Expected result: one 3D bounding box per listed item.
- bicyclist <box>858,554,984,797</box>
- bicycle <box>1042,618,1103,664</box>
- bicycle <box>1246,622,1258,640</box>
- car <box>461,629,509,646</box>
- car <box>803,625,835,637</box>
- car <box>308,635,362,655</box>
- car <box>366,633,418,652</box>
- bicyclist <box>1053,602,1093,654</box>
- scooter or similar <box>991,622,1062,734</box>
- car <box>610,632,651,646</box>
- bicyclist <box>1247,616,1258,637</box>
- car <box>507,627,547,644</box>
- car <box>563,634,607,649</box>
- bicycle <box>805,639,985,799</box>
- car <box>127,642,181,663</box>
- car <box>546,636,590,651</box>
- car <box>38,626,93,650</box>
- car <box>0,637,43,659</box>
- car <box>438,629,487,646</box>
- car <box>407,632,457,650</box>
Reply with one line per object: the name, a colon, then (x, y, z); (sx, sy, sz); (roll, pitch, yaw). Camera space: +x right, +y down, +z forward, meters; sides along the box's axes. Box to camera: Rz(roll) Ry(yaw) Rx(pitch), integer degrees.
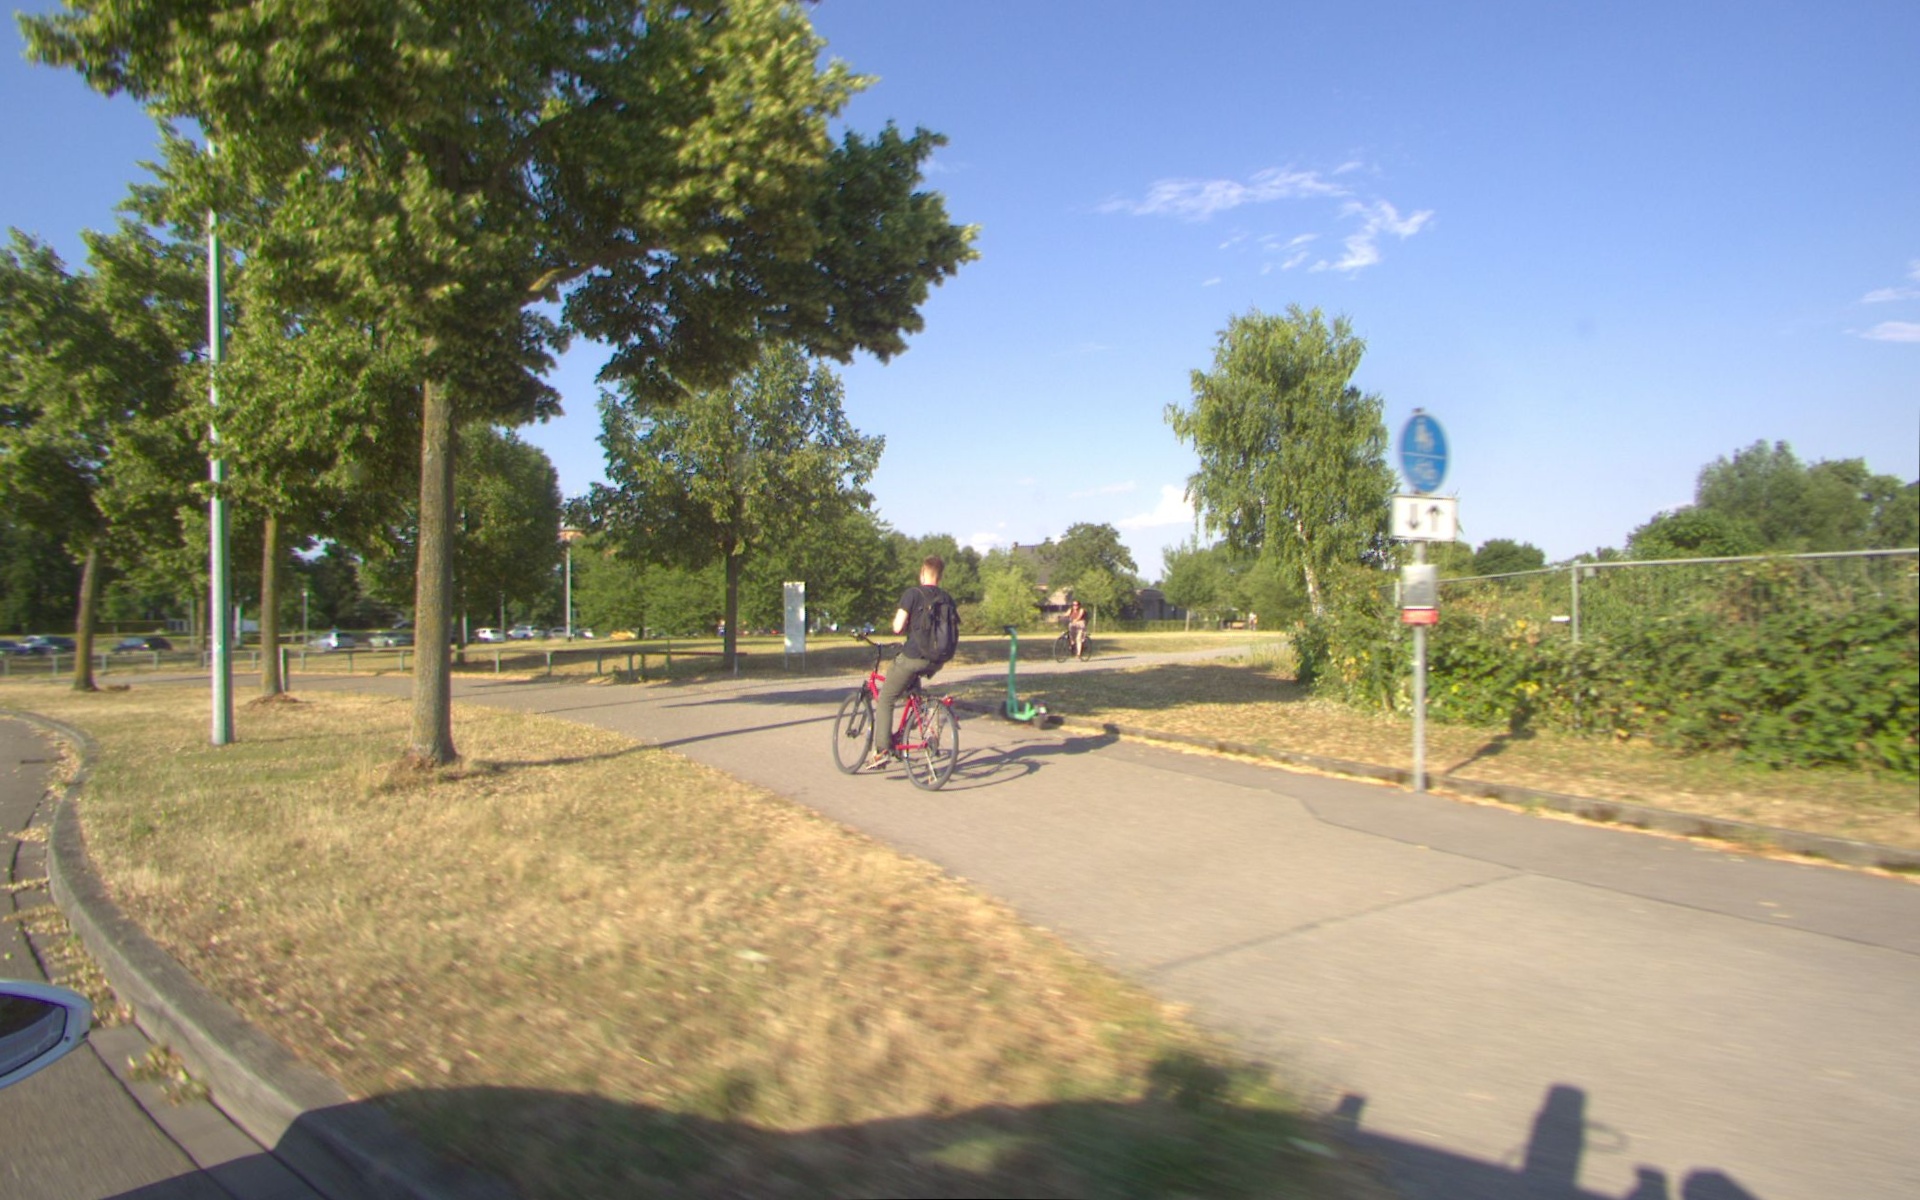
bicyclist: (-0.323, 0.573, 8.122); (0.614, 1.854, 0.822); (-2, 2, -43)
bicycle: (3.068, 1.106, 27.234); (1.807, 1.172, 0.488); (-1, 1, -38)
bicycle: (25.569, 2.734, 87.657); (0.385, 1.468, 1.945); (0, -3, -3)
car: (-41.658, 3.300, 87.839); (3.939, 1.421, 1.820); (-2, -1, 29)
car: (-18.413, 4.040, 130.710); (3.939, 1.421, 1.820); (-2, -1, 29)
car: (-47.725, 3.456, 76.493); (3.939, 1.421, 1.820); (-2, -1, 29)
car: (-45.858, 3.440, 80.800); (3.939, 1.421, 1.820); (-2, -1, 29)
bicyclist: (3.067, 0.763, 27.198); (0.969, 1.380, 0.554); (0, -1, -39)
scooter or similar: (0.756, 0.870, 11.594); (0.336, 1.175, 1.167); (-4, 2, -19)
car: (-33.759, 4.014, 102.671); (3.939, 1.421, 1.820); (-2, -1, 29)
bicyclist: (25.574, 2.304, 87.592); (0.625, 1.801, 0.929); (0, -3, -3)
car: (-45.329, 3.697, 104.896); (3.939, 1.693, 1.820); (-2, -1, 29)
car: (-36.590, 4.056, 97.686); (3.939, 1.421, 1.820); (-2, -1, 29)
bicycle: (-0.591, 0.929, 8.373); (0.412, 1.174, 1.873); (-1, 0, -42)
car: (-52.850, 3.429, 65.652); (3.913, 1.327, 1.598); (-2, -1, 33)
car: (-37.253, 4.142, 95.194); (3.939, 1.421, 1.820); (-2, -1, 29)
car: (-55.189, 2.344, 61.757); (3.913, 1.420, 1.598); (-2, -1, 33)
car: (-56.568, 2.869, 59.926); (3.913, 1.236, 1.598); (-2, -1, 33)
car: (-42.541, 3.213, 85.551); (3.939, 1.421, 1.820); (-2, -1, 29)
car: (-43.873, 3.385, 83.135); (3.939, 1.421, 1.820); (-2, -1, 29)
